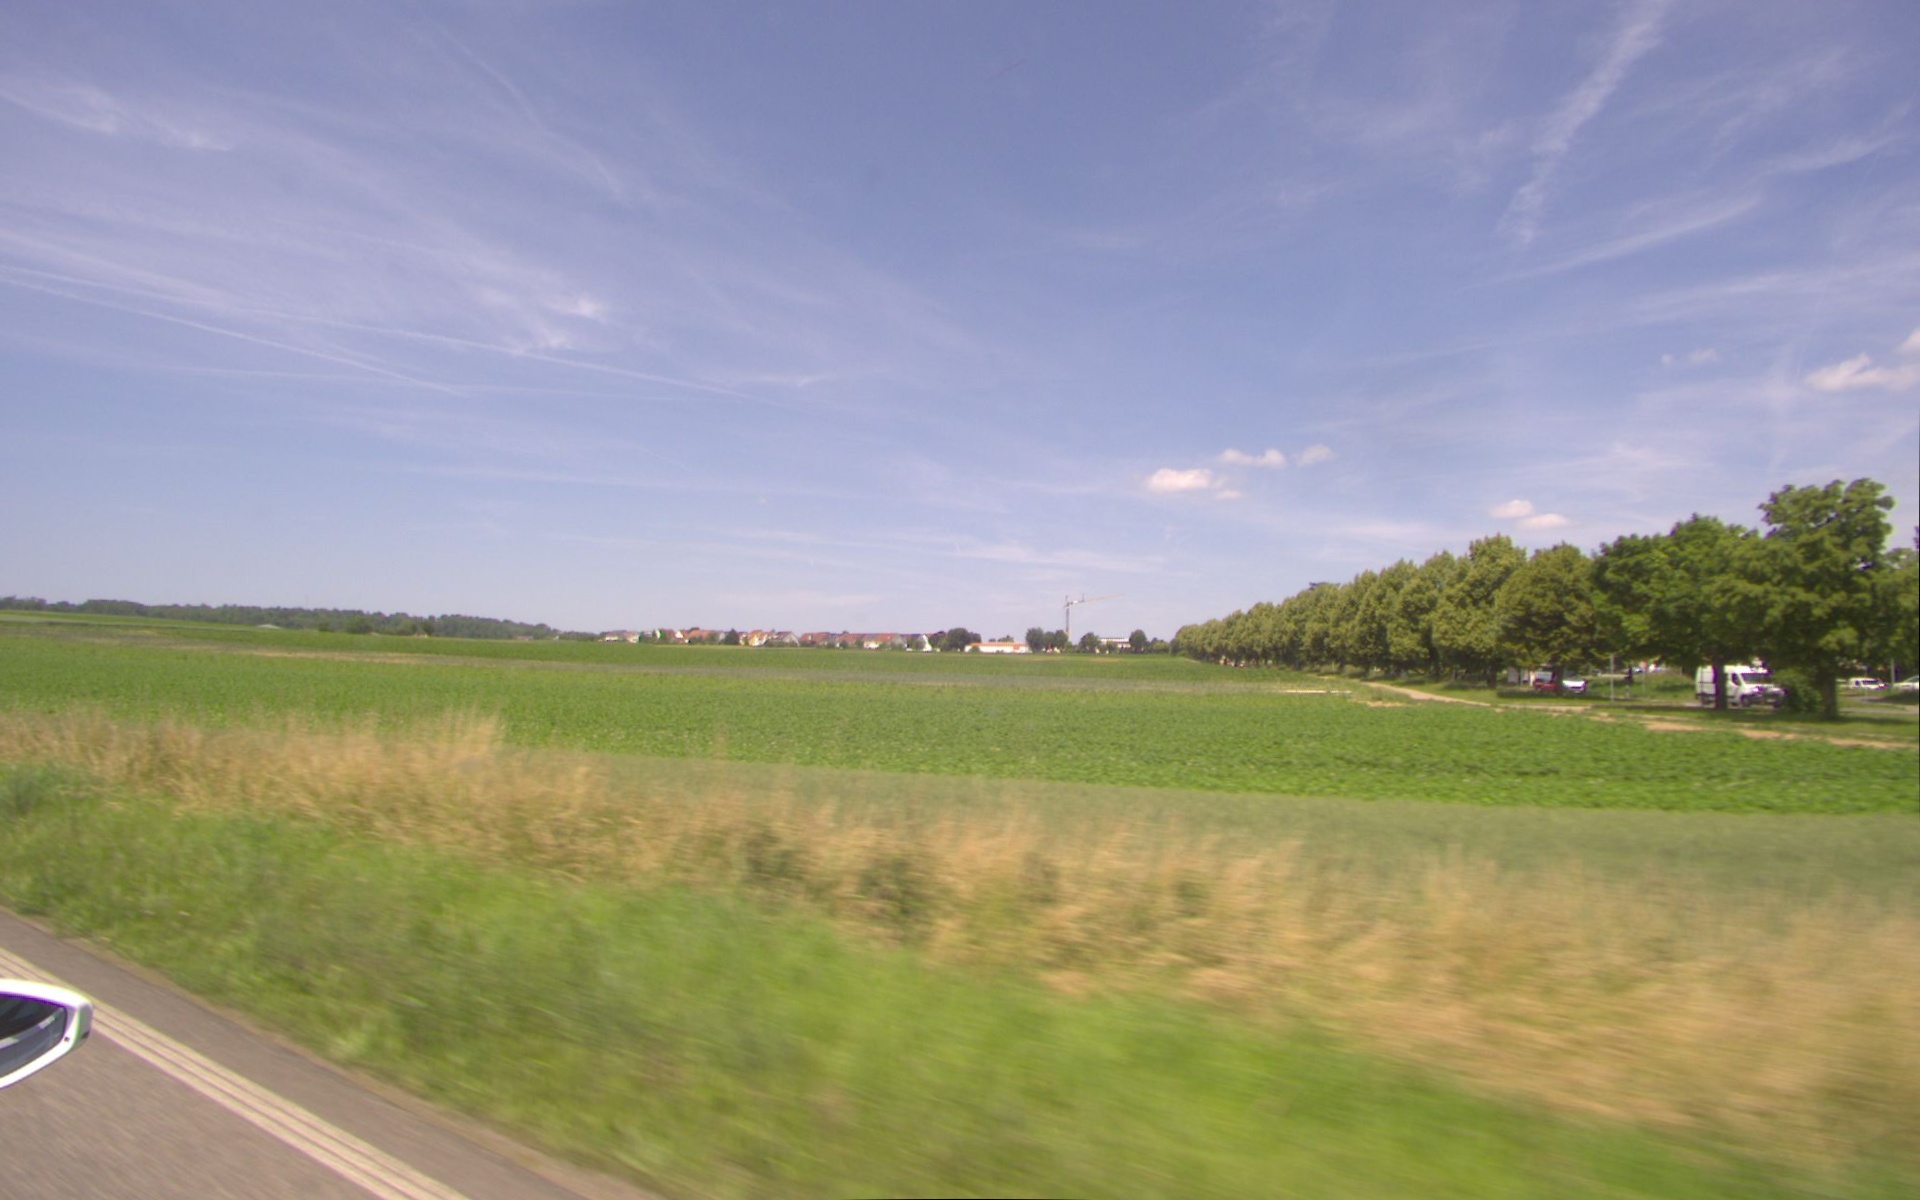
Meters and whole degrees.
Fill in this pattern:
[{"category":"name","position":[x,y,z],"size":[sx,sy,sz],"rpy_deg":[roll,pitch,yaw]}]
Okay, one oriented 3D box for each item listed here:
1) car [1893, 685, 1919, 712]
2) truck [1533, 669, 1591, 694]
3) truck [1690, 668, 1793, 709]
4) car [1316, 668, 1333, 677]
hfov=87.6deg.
[{"category":"car","position":[67.699,6.911,69.957],"size":[1.788,1.846,4.002],"rpy_deg":[-1,-4,11]},{"category":"truck","position":[49.823,6.763,83.056],"size":[1.766,1.999,5.482],"rpy_deg":[-1,-4,4]},{"category":"truck","position":[47.282,5.320,60.792],"size":[2.013,2.394,5.645],"rpy_deg":[-1,-4,3]},{"category":"car","position":[63.406,12.634,174.297],"size":[1.961,1.668,4.004],"rpy_deg":[-1,-4,7]}]
